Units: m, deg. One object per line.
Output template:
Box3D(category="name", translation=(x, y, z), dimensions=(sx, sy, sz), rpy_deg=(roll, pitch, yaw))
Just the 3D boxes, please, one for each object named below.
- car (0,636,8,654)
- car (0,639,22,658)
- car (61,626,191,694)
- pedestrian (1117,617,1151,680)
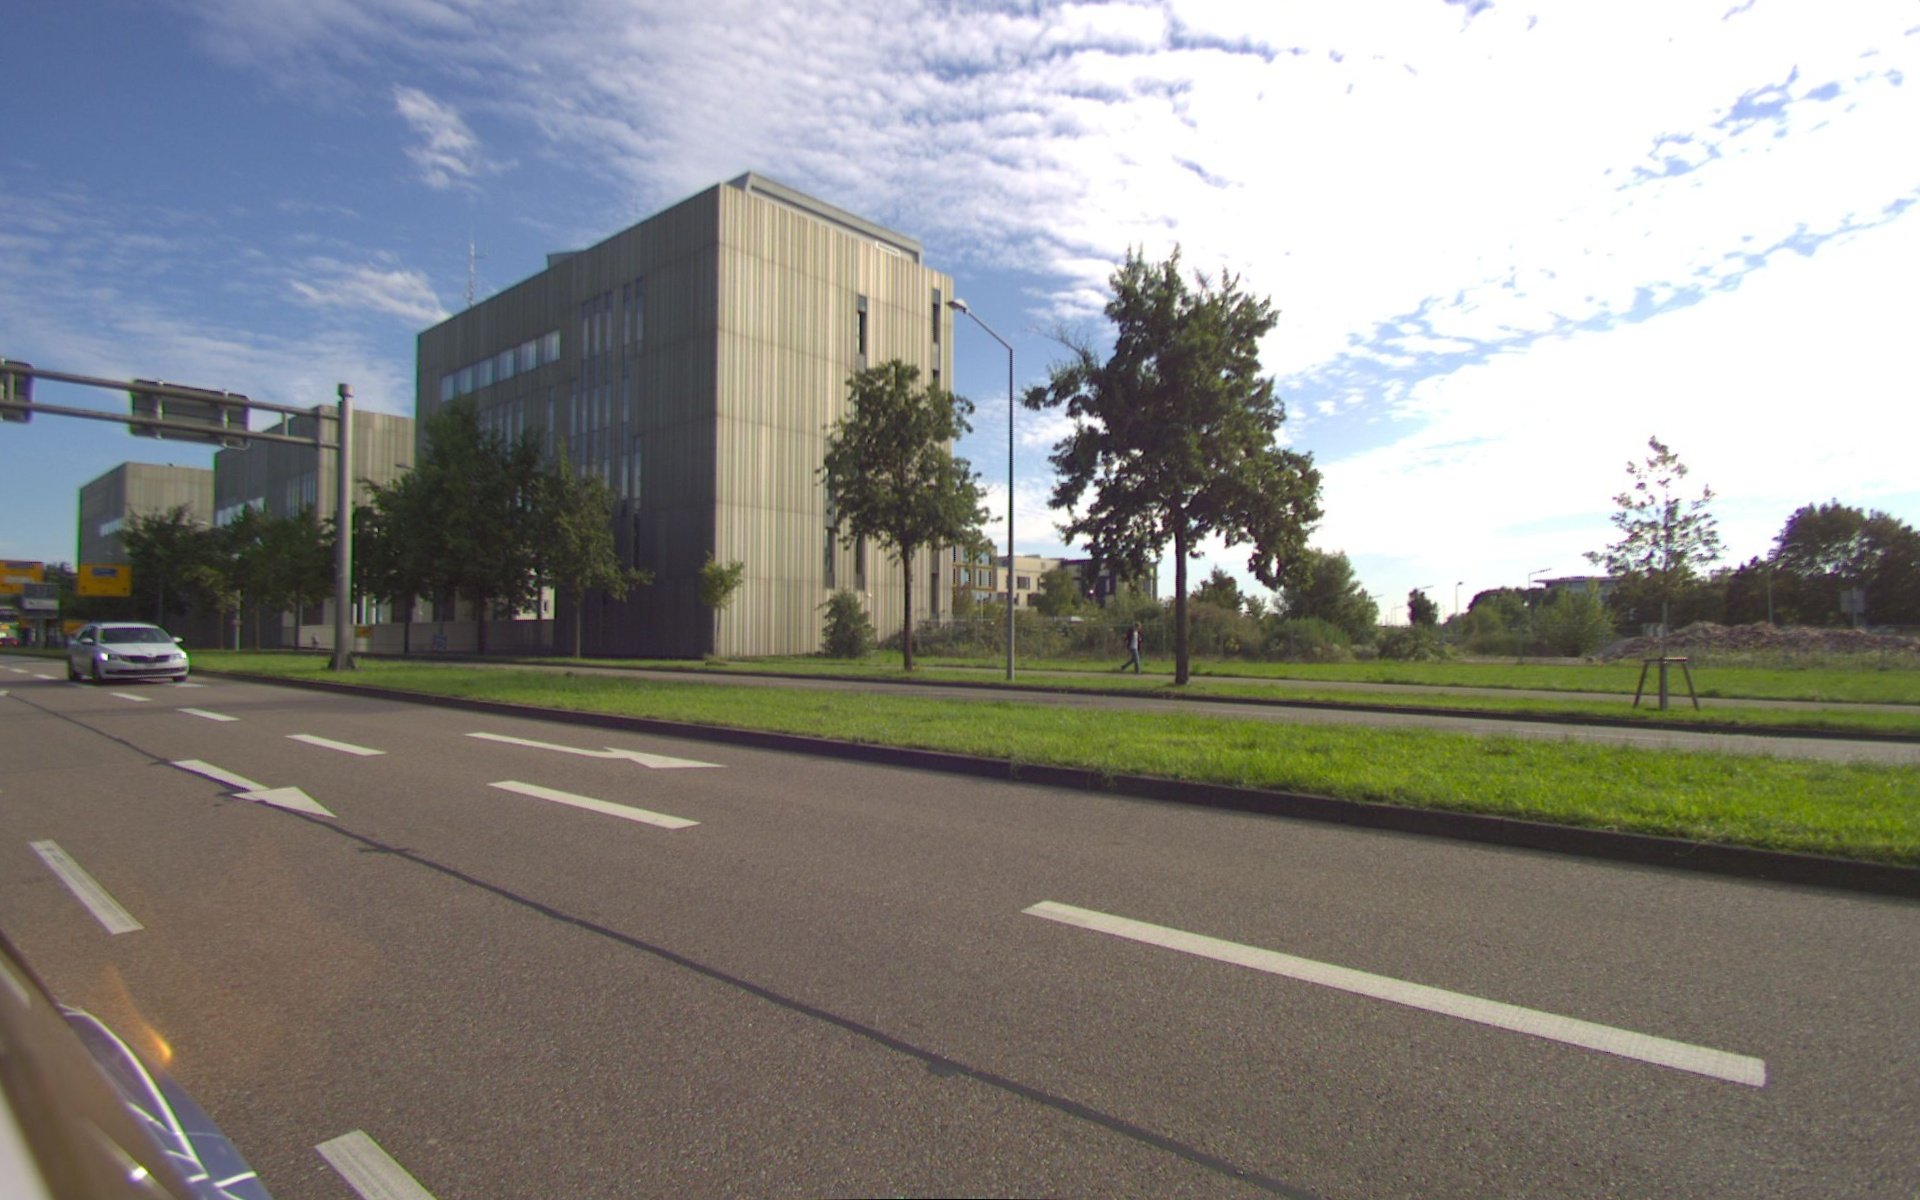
Box3D(category="car", translation=(-112.362, 5.213, 117.673), dimensions=(3.981, 2.029, 1.973), rpy_deg=(-2, -3, 41))
Box3D(category="car", translation=(-101.107, 5.160, 107.325), dimensions=(3.997, 2.029, 1.973), rpy_deg=(-2, -3, 41))
Box3D(category="car", translation=(-20.695, 1.424, 25.044), dimensions=(4.477, 1.510, 1.681), rpy_deg=(-2, -2, 40))
Box3D(category="pedestrian", translation=(5.620, 1.568, 32.755), dimensions=(0.867, 2.029, 0.667), rpy_deg=(-2, -3, 41))
